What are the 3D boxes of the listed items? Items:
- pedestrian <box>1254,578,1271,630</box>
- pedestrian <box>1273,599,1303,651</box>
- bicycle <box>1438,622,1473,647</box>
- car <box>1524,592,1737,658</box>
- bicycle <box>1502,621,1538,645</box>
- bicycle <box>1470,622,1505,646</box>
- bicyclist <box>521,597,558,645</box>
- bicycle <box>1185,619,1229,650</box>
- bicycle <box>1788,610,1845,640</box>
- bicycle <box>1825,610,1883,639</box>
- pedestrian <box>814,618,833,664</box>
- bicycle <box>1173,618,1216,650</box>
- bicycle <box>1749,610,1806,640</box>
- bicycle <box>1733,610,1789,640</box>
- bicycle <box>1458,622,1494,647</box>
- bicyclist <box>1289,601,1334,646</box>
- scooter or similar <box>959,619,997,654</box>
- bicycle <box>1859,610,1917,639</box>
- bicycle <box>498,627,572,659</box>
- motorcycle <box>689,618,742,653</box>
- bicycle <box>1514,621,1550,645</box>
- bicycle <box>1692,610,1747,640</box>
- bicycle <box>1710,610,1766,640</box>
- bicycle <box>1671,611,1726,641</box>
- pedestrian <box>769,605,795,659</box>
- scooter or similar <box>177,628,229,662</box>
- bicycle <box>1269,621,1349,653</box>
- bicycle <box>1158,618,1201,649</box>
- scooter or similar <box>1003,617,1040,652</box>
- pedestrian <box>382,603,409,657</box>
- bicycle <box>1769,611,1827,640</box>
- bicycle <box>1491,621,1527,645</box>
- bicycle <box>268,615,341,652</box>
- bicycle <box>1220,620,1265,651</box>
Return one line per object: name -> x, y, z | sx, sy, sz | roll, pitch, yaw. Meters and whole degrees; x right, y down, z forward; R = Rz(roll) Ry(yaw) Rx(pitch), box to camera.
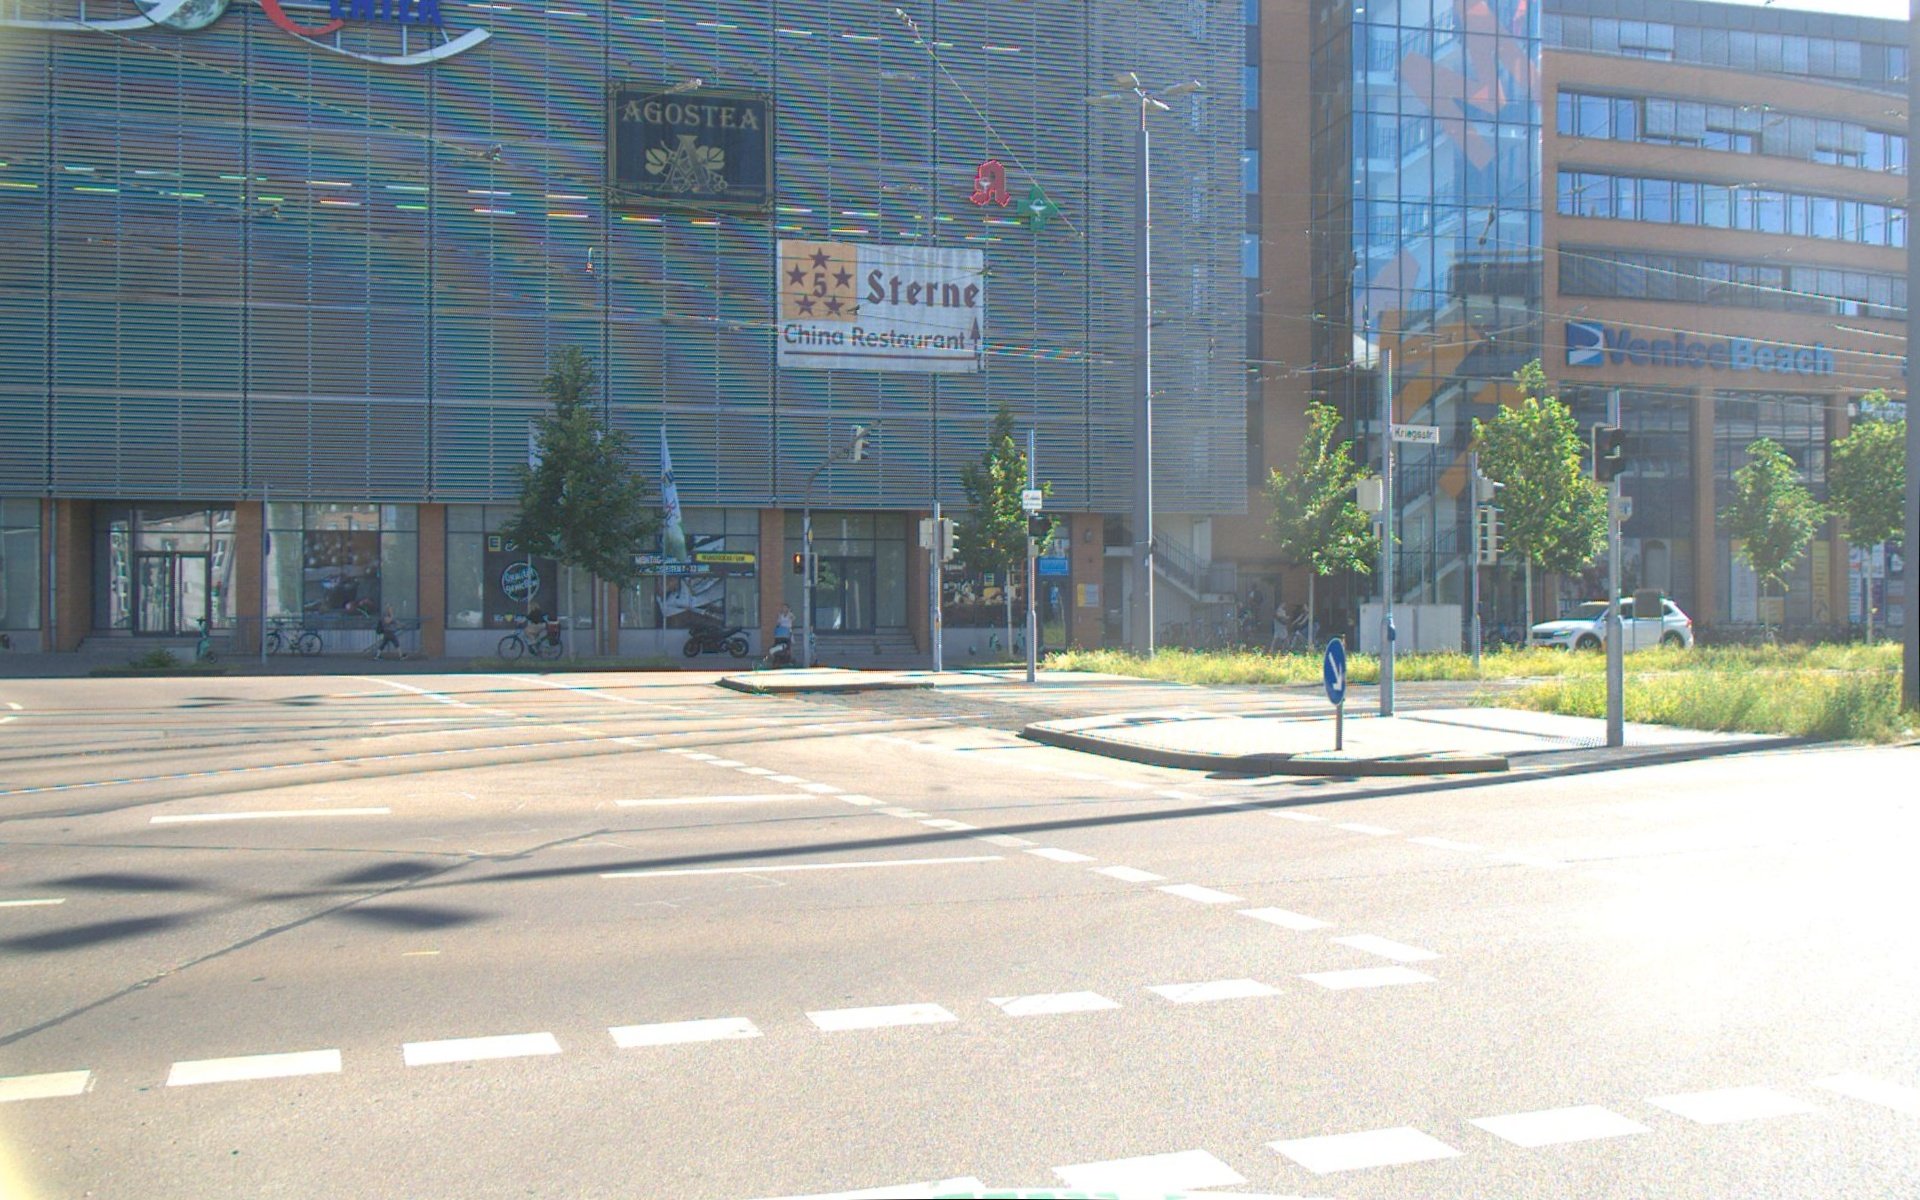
pedestrian -> 11.290, 0.148, 61.752 | 0.529, 1.948, 0.373 | 1, -1, -7
pedestrian -> 10.916, 0.819, 55.011 | 0.767, 1.714, 0.592 | 0, -1, -28
bicycle -> 17.755, 1.235, 59.318 | 0.437, 0.833, 1.442 | 0, 1, -20
car -> 17.700, 0.643, 43.663 | 5.447, 1.681, 1.803 | 0, -1, -20
bicycle -> 20.399, 1.205, 60.234 | 0.437, 0.833, 1.442 | 0, 1, -20
bicycle -> 19.105, 1.218, 59.912 | 0.437, 0.833, 1.442 | 0, 1, -20
bicyclist -> -11.932, 0.584, 46.942 | 1.019, 1.341, 0.679 | 0, -1, -16
bicycle -> 8.312, 1.149, 55.727 | 0.484, 0.971, 2.168 | 0, 1, -20
bicycle -> 35.167, 1.014, 67.930 | 0.740, 1.143, 2.168 | 0, 1, -20
bicycle -> 37.011, 1.007, 68.497 | 0.740, 1.143, 2.168 | 0, 1, -20
pedestrian -> -3.755, 1.130, 45.500 | 0.438, 1.250, 0.398 | 0, -1, 10
bicycle -> 7.840, 1.130, 55.377 | 0.484, 0.971, 2.168 | 0, 1, -20
bicycle -> 33.146, 1.014, 67.104 | 0.740, 1.143, 2.168 | 0, 1, -20
bicycle -> 32.369, 0.993, 66.852 | 0.740, 1.143, 2.168 | 0, 1, -20
bicycle -> 18.603, 1.245, 59.635 | 0.437, 0.833, 1.442 | 0, 1, -20
bicyclist -> 11.427, 0.761, 53.807 | 1.286, 1.432, 0.592 | 0, -1, -14
scooter or similar -> 0.587, 1.198, 54.099 | 1.181, 1.122, 0.276 | 1, -1, -13
bicycle -> 38.712, 1.017, 69.048 | 0.740, 1.143, 2.168 | 0, 1, -20
bicycle -> -12.053, 1.212, 46.910 | 2.008, 0.882, 0.679 | 0, -1, -16
motorcycle -> -7.512, 1.081, 50.780 | 1.587, 1.056, 0.400 | 0, -1, -14
bicycle -> 20.892, 1.201, 60.391 | 0.437, 0.833, 1.442 | 0, 1, -20
bicycle -> 30.523, 0.999, 66.497 | 0.740, 1.143, 2.168 | 0, 1, -20
bicycle -> 31.394, 1.011, 66.743 | 0.740, 1.143, 2.168 | 0, 1, -20
bicycle -> 29.549, 1.018, 66.189 | 0.740, 1.143, 2.168 | 0, 1, -20
pedestrian -> -4.952, 0.886, 46.052 | 0.724, 1.513, 0.489 | 0, -1, -5
scooter or similar -> -19.721, 1.168, 43.081 | 1.204, 0.866, 0.300 | 0, -1, -18
bicycle -> 11.355, 1.194, 53.800 | 2.516, 1.028, 0.596 | 0, -1, -14
bicycle -> 7.321, 1.096, 55.156 | 0.484, 0.971, 2.168 | 0, 1, -20
scooter or similar -> 2.040, 1.142, 54.672 | 1.181, 1.122, 0.276 | 1, -1, -13
pedestrian -> -16.140, 0.850, 47.301 | 0.635, 1.545, 0.490 | 0, -1, -10
bicycle -> 34.018, 1.023, 67.172 | 0.740, 1.143, 2.168 | 0, 1, -20
bicycle -> 19.913, 1.202, 60.031 | 0.437, 0.833, 1.442 | 0, 1, -20
bicycle -> -18.865, 0.962, 47.605 | 1.915, 1.056, 0.570 | 0, -1, -19
bicycle -> 9.474, 1.179, 55.507 | 0.484, 0.971, 2.168 | 0, 1, -20
